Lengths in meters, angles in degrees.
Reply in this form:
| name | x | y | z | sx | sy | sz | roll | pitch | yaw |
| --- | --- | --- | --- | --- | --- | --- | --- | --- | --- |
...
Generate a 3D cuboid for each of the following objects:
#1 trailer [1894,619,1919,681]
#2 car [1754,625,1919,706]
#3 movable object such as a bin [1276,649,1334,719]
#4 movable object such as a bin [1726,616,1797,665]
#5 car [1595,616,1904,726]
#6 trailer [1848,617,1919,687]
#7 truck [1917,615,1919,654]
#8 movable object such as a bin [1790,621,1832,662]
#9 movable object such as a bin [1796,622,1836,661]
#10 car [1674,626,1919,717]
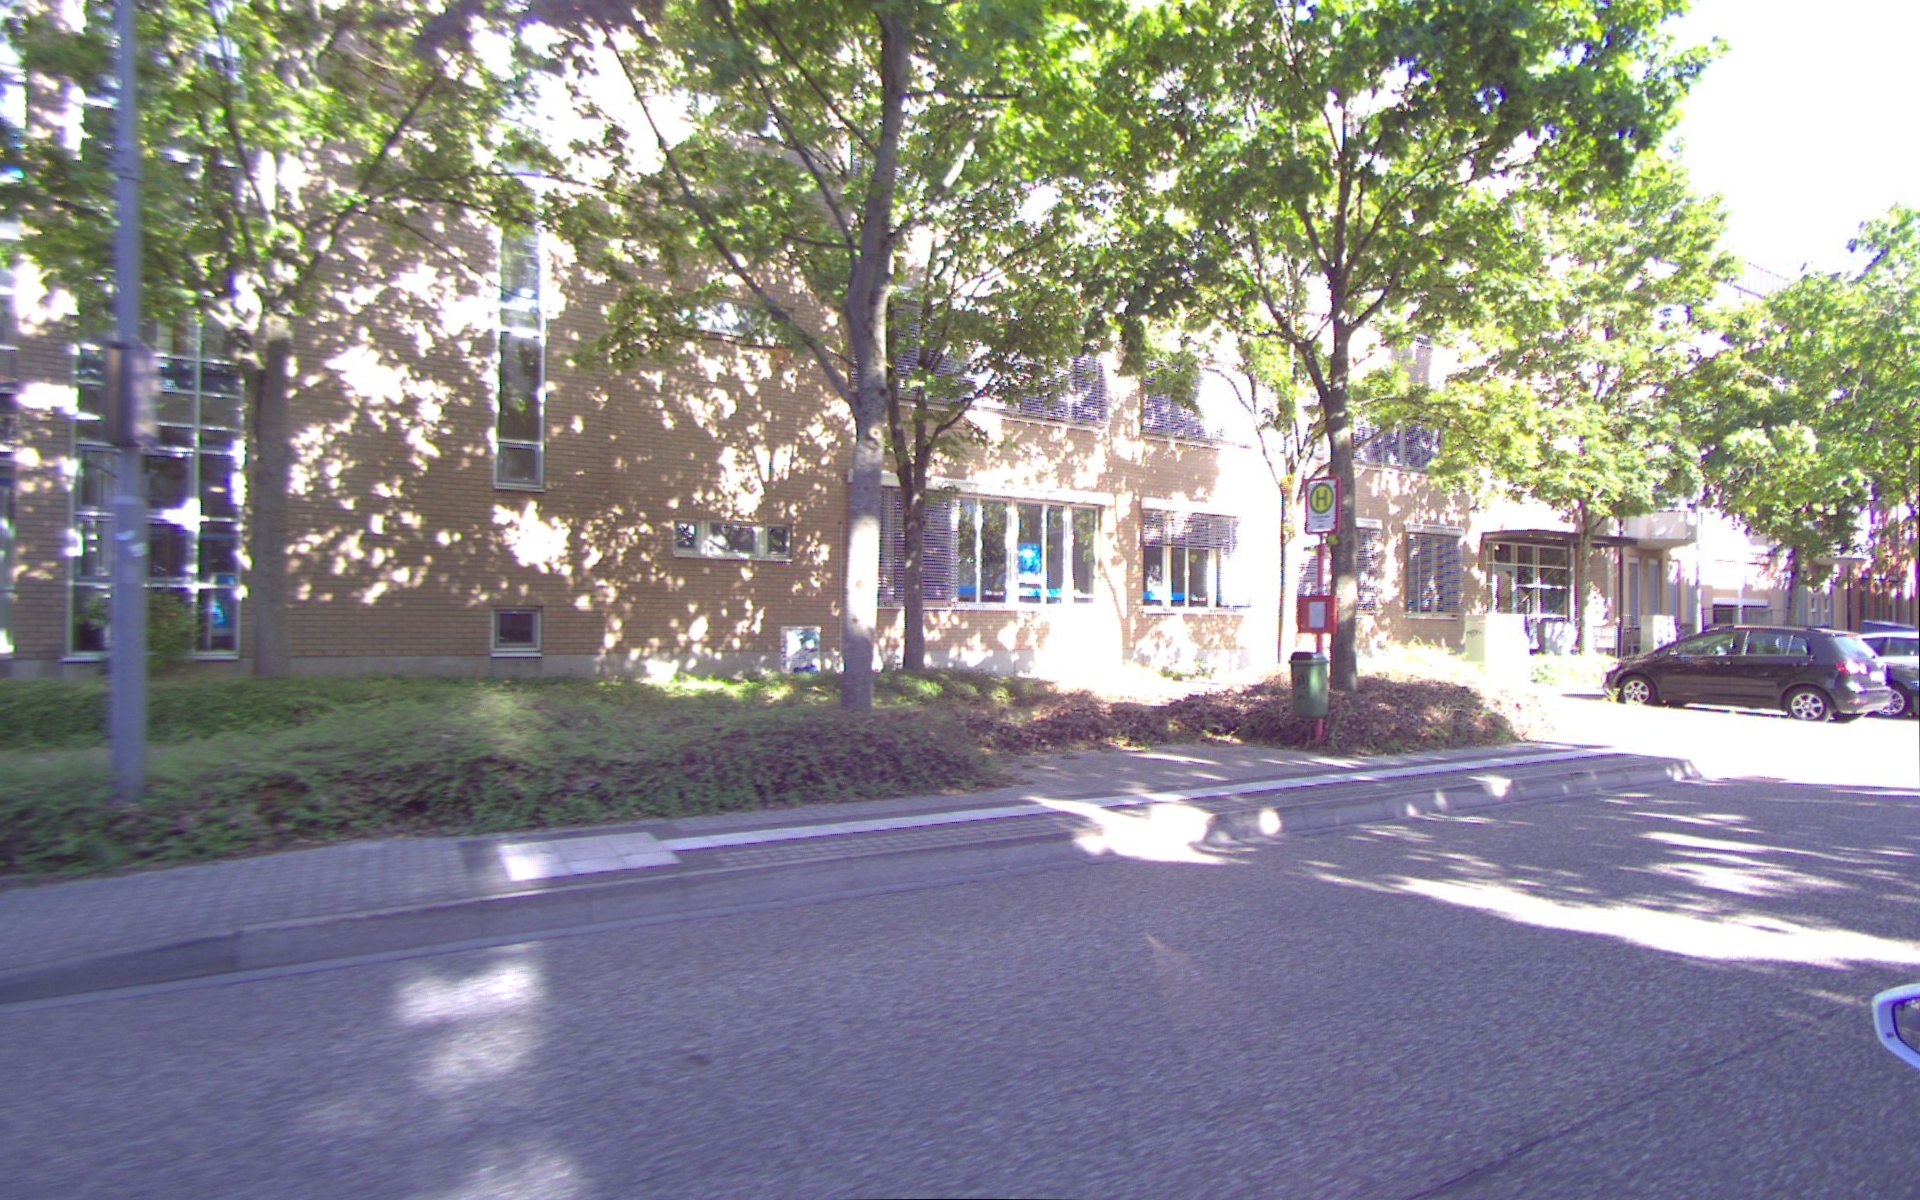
| name | x | y | z | sx | sy | sz | roll | pitch | yaw |
| --- | --- | --- | --- | --- | --- | --- | --- | --- | --- |
| trailer | 26.828 | 1.350 | 25.508 | 1.837 | 1.593 | 4.234 | 1 | 0 | -33 |
| car | 18.880 | 1.304 | 20.585 | 1.734 | 1.472 | 3.735 | 1 | 1 | -30 |
| movable object such as a bin | 3.829 | 0.925 | 11.160 | 0.403 | 0.740 | 0.439 | 1 | 0 | -30 |
| movable object such as a bin | 30.322 | 1.514 | 38.023 | 1.644 | 1.820 | 1.592 | 1 | -2 | -29 |
| car | 13.908 | 1.161 | 17.945 | 1.708 | 1.591 | 3.967 | 1 | 1 | -31 |
| trailer | 24.359 | 1.309 | 25.203 | 1.692 | 1.710 | 2.712 | 1 | 0 | -30 |
| truck | 71.314 | 2.423 | 70.111 | 2.549 | 2.740 | 6.071 | 1 | -2 | -32 |
| movable object such as a bin | 34.443 | 1.666 | 40.658 | 1.432 | 1.641 | 1.134 | 1 | -2 | -43 |
| movable object such as a bin | 35.405 | 1.697 | 41.543 | 1.236 | 1.583 | 1.134 | 1 | -2 | -43 |
| car | 16.344 | 1.288 | 19.104 | 1.780 | 1.421 | 4.131 | 1 | 0 | -30 |
